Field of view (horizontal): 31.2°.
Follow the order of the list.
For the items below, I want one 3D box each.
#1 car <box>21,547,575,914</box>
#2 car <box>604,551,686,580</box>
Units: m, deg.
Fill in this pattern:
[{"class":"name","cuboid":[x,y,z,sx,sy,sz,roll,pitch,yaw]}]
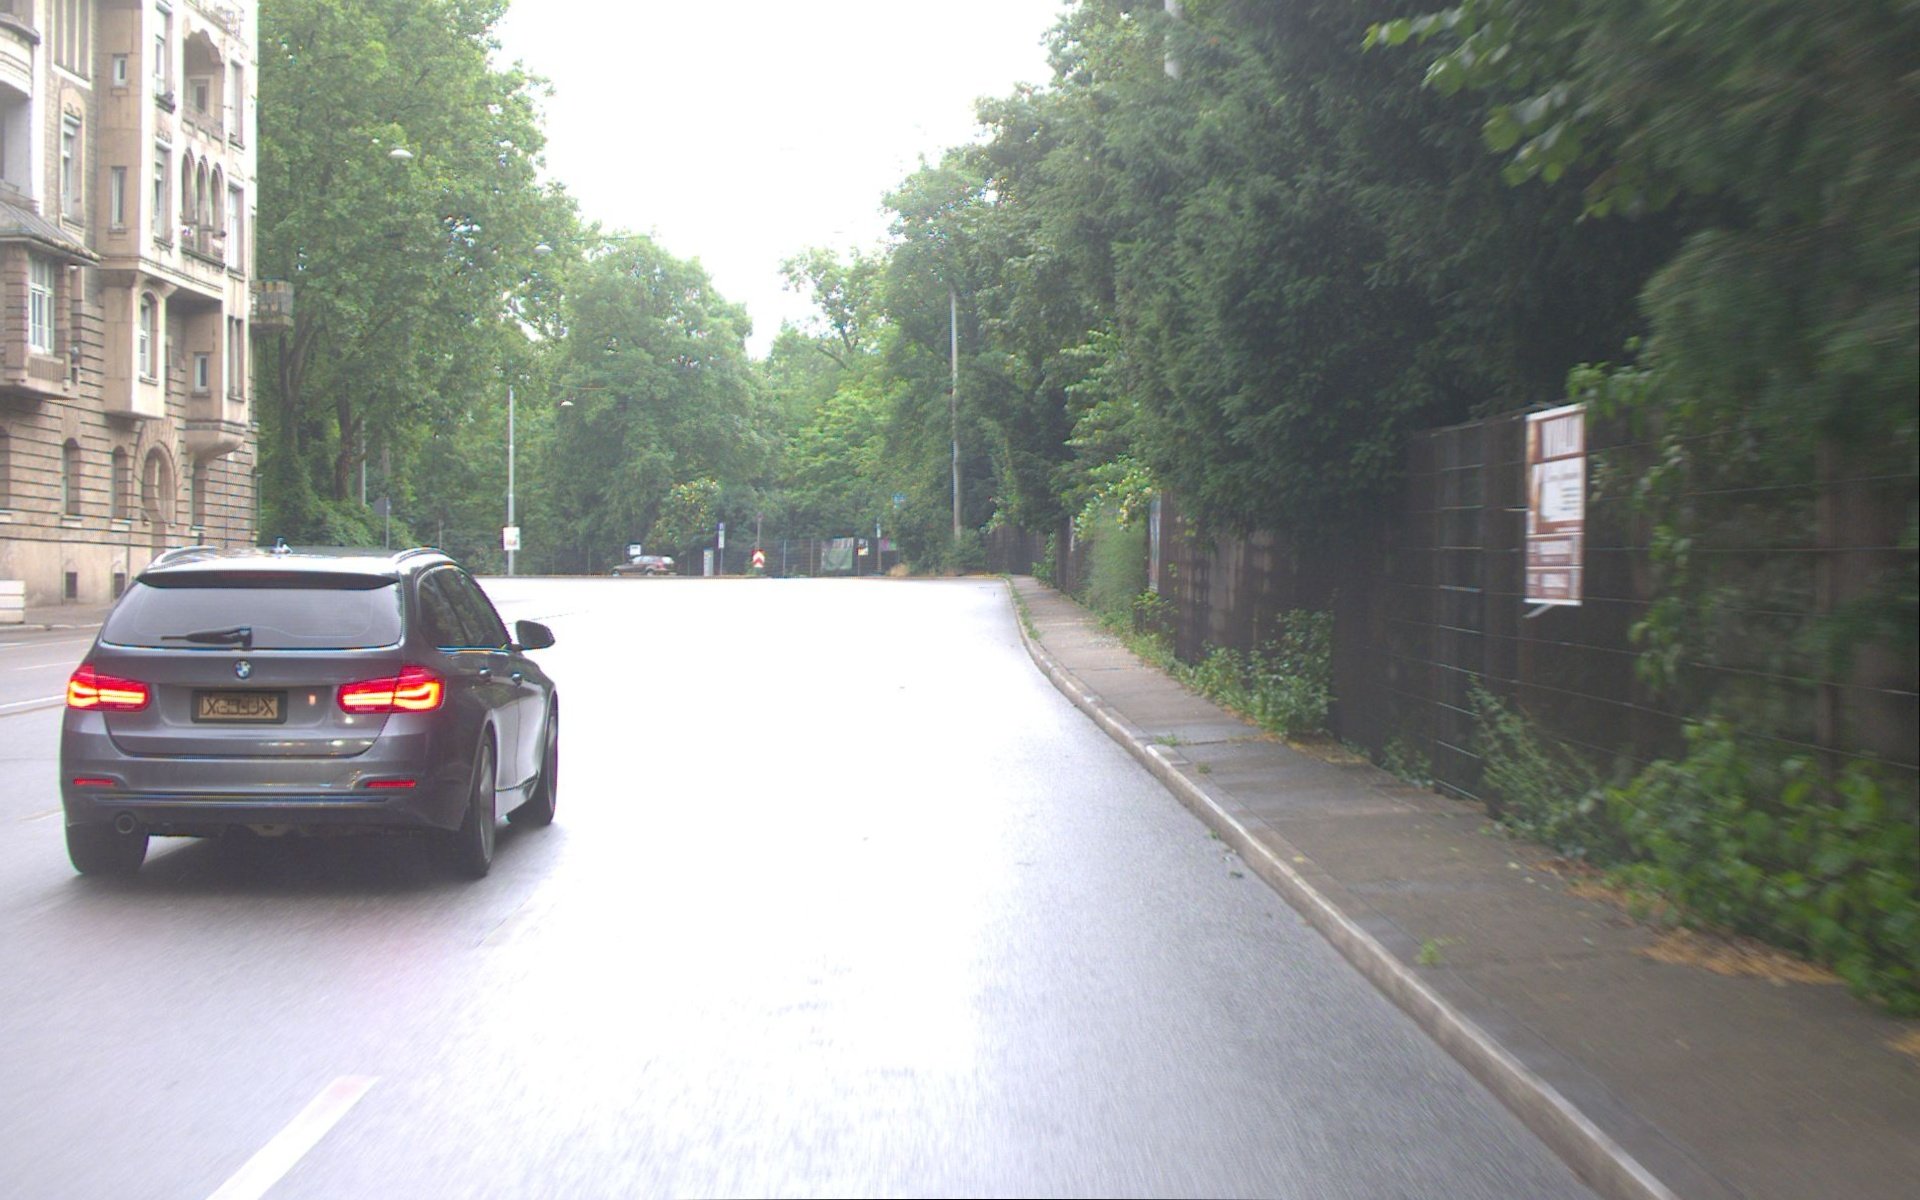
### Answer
[{"class":"car","cuboid":[-2.927,0.498,16.115,1.757,1.427,4.413,2,1,-1]},{"class":"car","cuboid":[-16.244,-1.777,177.312,4.368,1.422,1.688,1,-2,44]}]
